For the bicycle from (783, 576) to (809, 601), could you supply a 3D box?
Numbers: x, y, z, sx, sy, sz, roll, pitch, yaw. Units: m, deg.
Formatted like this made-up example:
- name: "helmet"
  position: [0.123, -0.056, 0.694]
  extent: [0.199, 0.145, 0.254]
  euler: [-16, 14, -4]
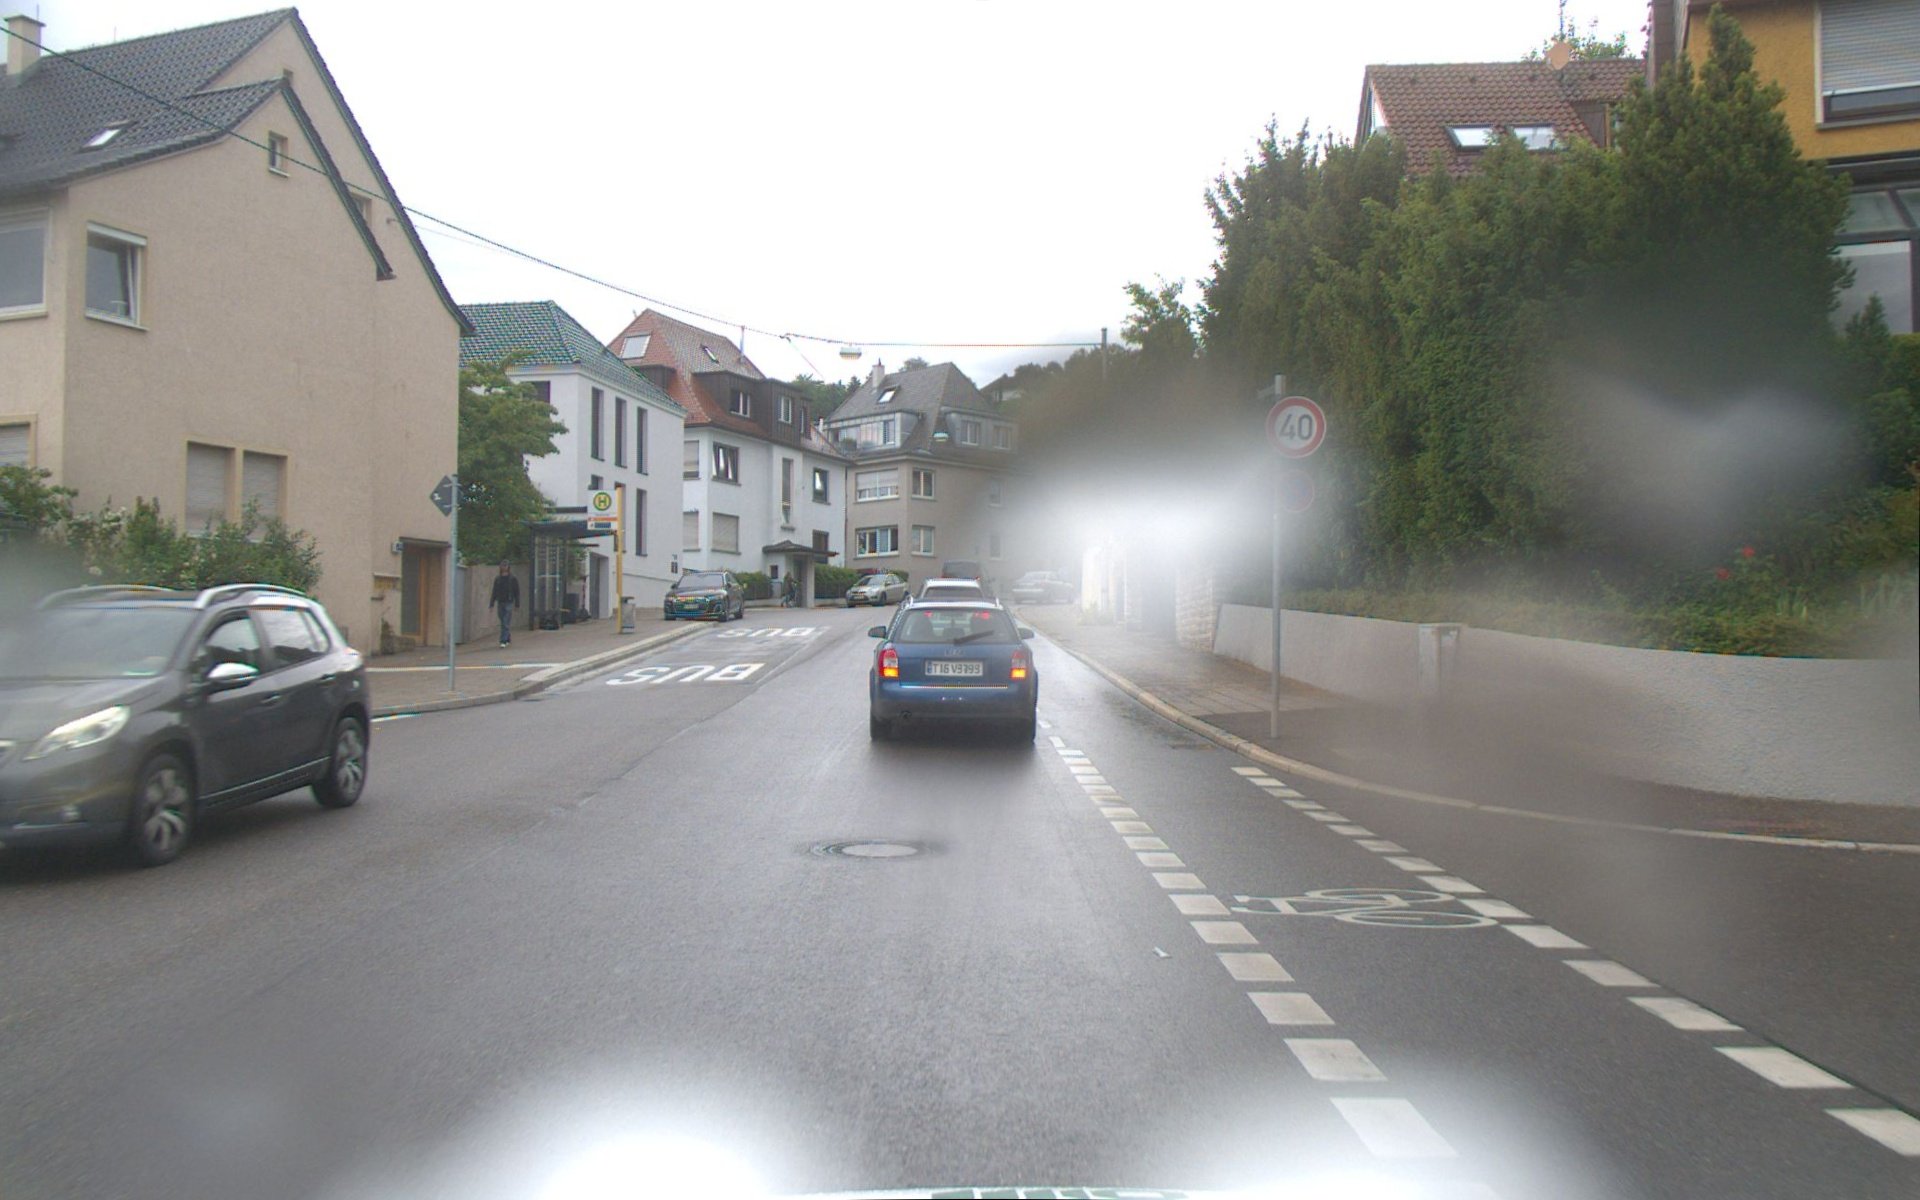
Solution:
- name: "bicycle"
  position: [-7.212, -0.504, 72.791]
  extent: [0.446, 1.085, 1.923]
  euler: [0, 1, 17]

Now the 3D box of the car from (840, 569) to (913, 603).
- name: "car"
  position: [-3.822, -0.676, 76.405]
  extent: [1.798, 1.450, 4.230]
  euler: [-2, 0, 21]

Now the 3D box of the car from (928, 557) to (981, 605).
- name: "car"
  position: [-0.217, -0.724, 62.487]
  extent: [1.889, 1.735, 4.000]
  euler: [-1, 1, -1]

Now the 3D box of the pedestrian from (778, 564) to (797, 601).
- name: "pedestrian"
  position: [-7.623, -0.787, 73.045]
  extent: [0.482, 1.604, 0.948]
  euler: [0, 1, 17]

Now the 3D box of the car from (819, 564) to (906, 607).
- name: "car"
  position: [-5.043, -0.739, 85.500]
  extent: [3.910, 1.854, 1.998]
  euler: [-6, -1, 27]

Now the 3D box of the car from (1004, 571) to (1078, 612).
- name: "car"
  position: [3.655, -0.416, 74.066]
  extent: [1.890, 1.735, 3.997]
  euler: [-1, 1, 26]

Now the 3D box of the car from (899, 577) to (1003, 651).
- name: "car"
  position: [-0.245, 0.265, 33.881]
  extent: [1.776, 1.384, 3.996]
  euler: [1, 0, -5]

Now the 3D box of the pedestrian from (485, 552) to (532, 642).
- name: "pedestrian"
  position: [-9.654, -0.072, 35.383]
  extent: [0.770, 1.889, 0.728]
  euler: [1, 0, -1]

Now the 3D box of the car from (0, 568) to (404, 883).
- name: "car"
  position: [-5.094, 0.643, 10.350]
  extent: [1.697, 1.572, 4.001]
  euler: [-2, 0, 2]

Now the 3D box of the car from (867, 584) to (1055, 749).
- name: "car"
  position: [-0.001, 0.618, 17.902]
  extent: [1.774, 1.464, 4.082]
  euler: [1, 2, 0]

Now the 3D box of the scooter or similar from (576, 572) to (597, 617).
- name: "scooter or similar"
  position: [-10.409, -0.169, 46.110]
  extent: [0.330, 1.241, 1.123]
  euler: [0, 1, 0]

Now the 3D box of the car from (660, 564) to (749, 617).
- name: "car"
  position: [-7.831, -0.307, 51.146]
  extent: [1.791, 1.511, 4.993]
  euler: [-1, 1, 2]
